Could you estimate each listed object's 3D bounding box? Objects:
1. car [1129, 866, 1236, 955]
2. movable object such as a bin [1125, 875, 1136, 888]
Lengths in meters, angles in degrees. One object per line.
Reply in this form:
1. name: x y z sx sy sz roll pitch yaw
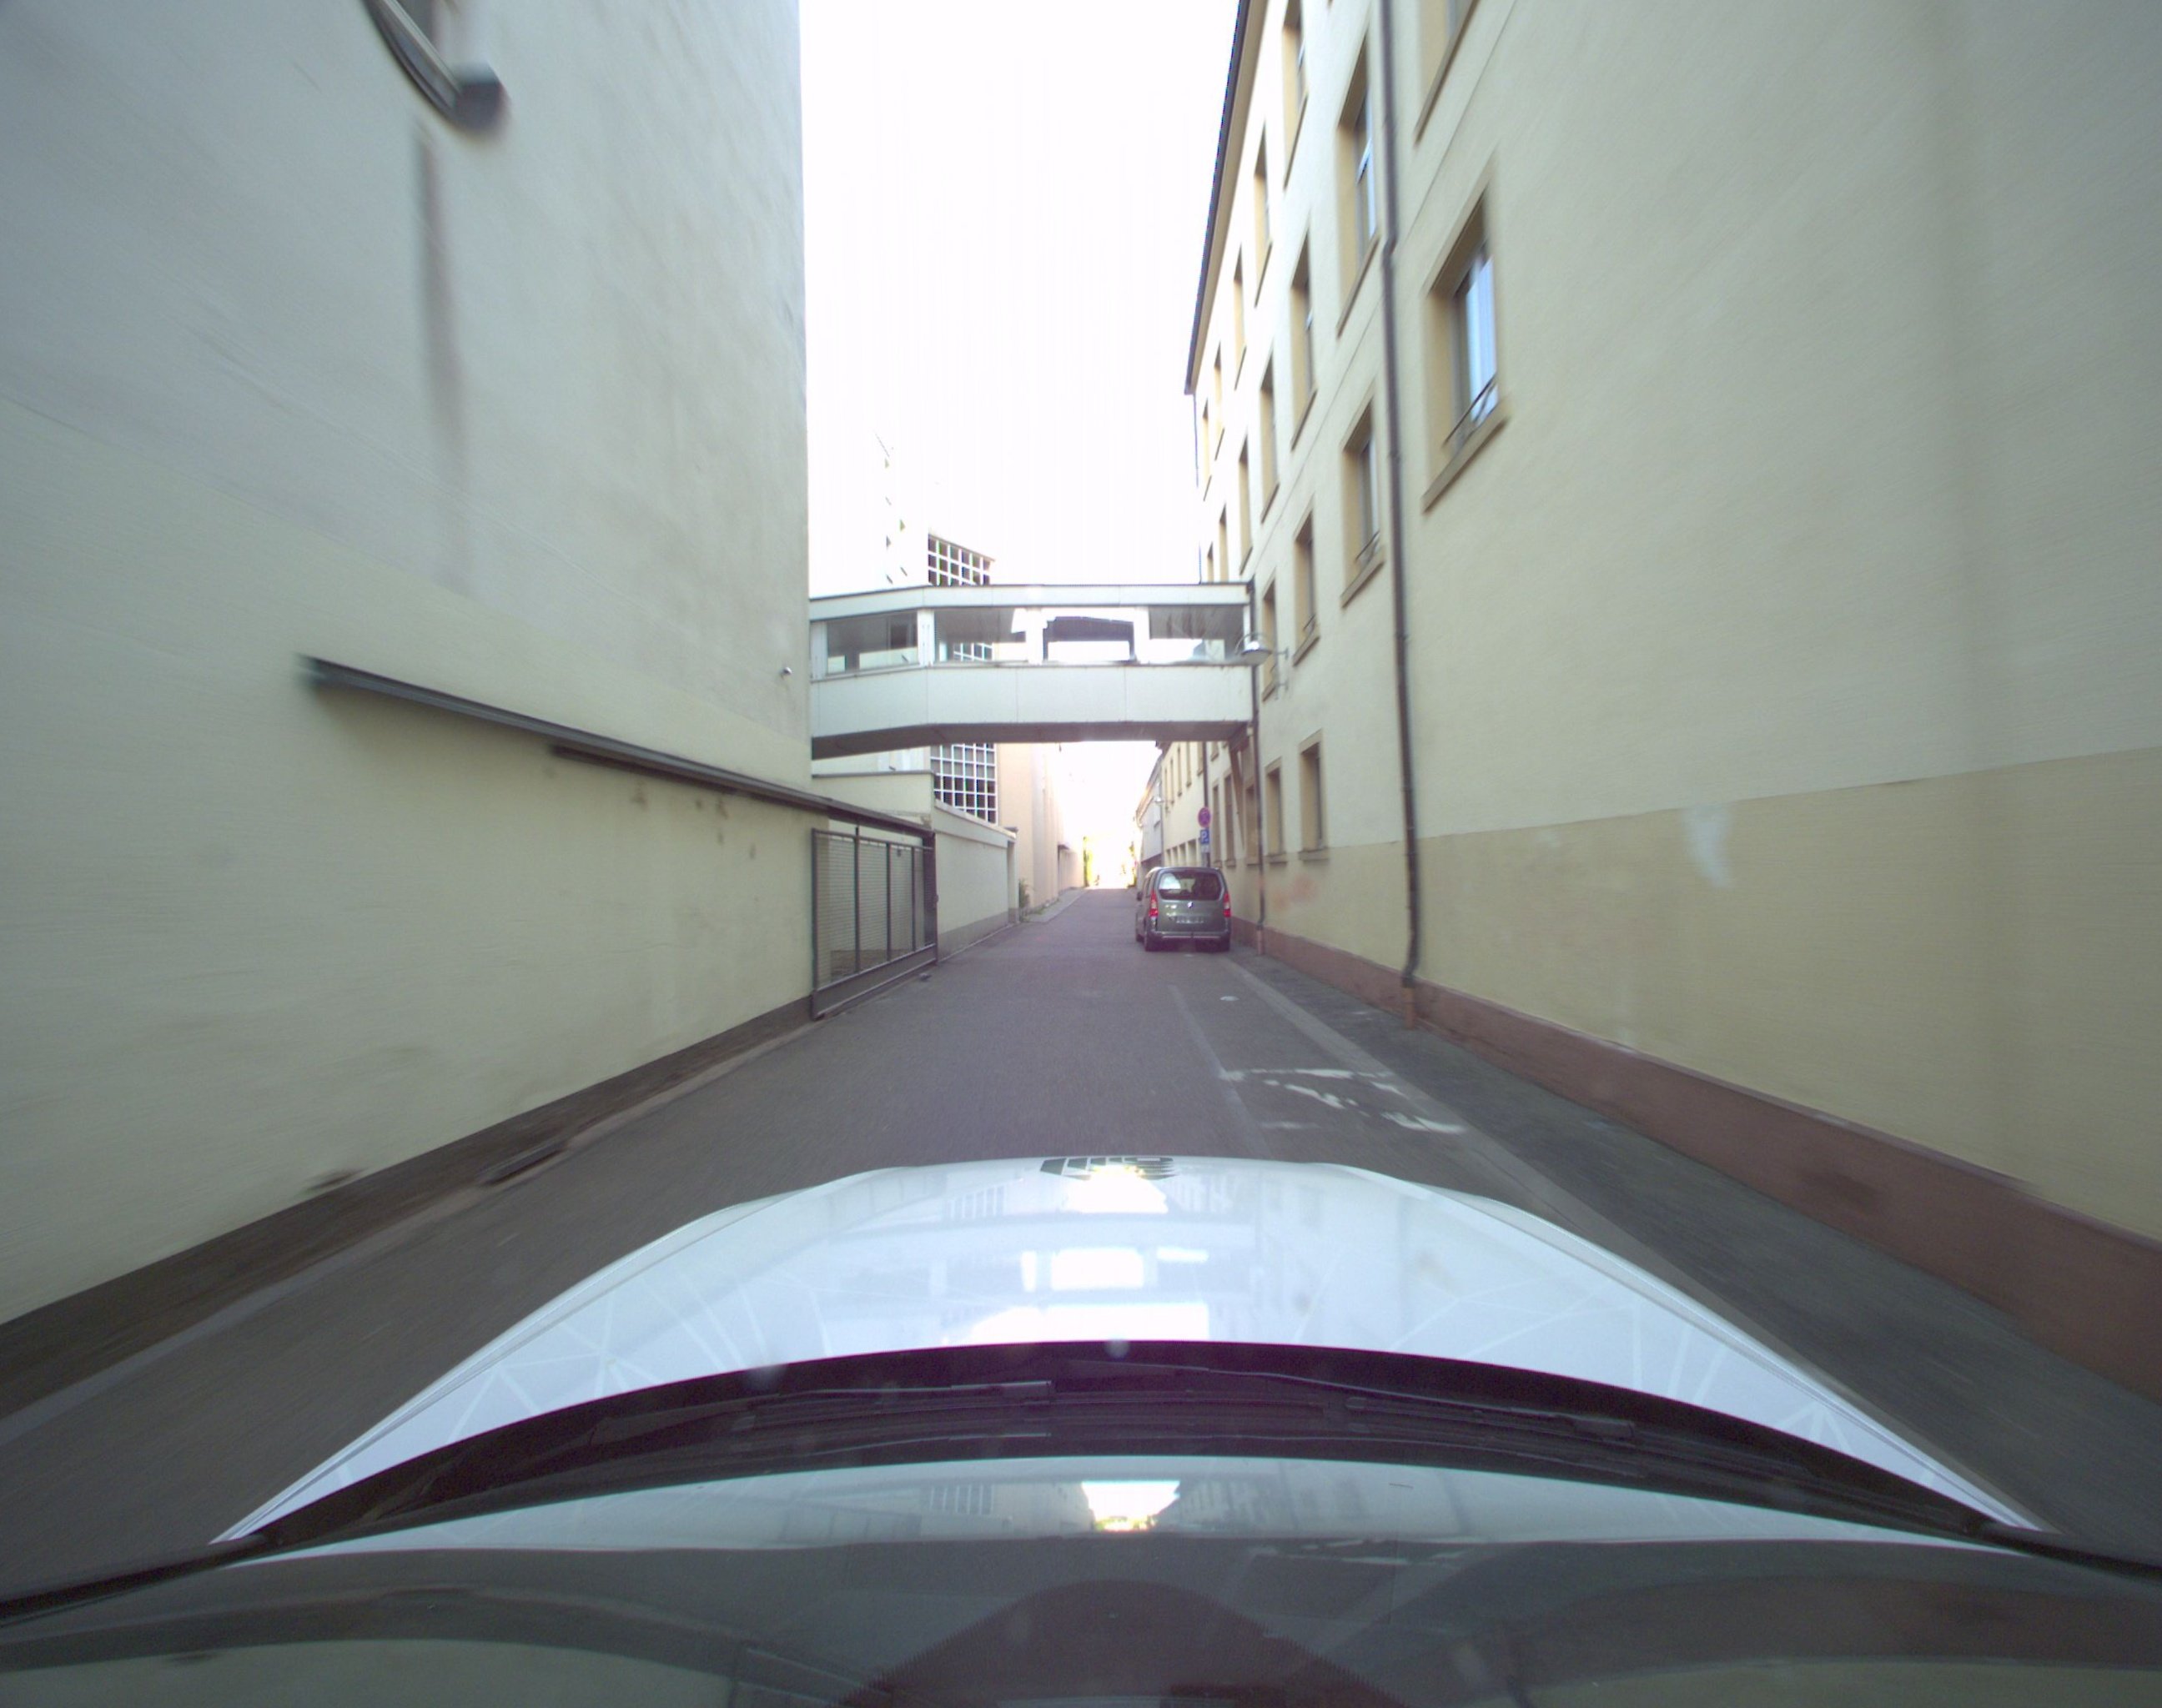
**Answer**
1. car: 2.186 1.225 18.570 1.849 1.756 4.160 2 -2 -1
2. movable object such as a bin: 5.494 3.065 90.922 1.102 1.436 1.414 -2 0 2
